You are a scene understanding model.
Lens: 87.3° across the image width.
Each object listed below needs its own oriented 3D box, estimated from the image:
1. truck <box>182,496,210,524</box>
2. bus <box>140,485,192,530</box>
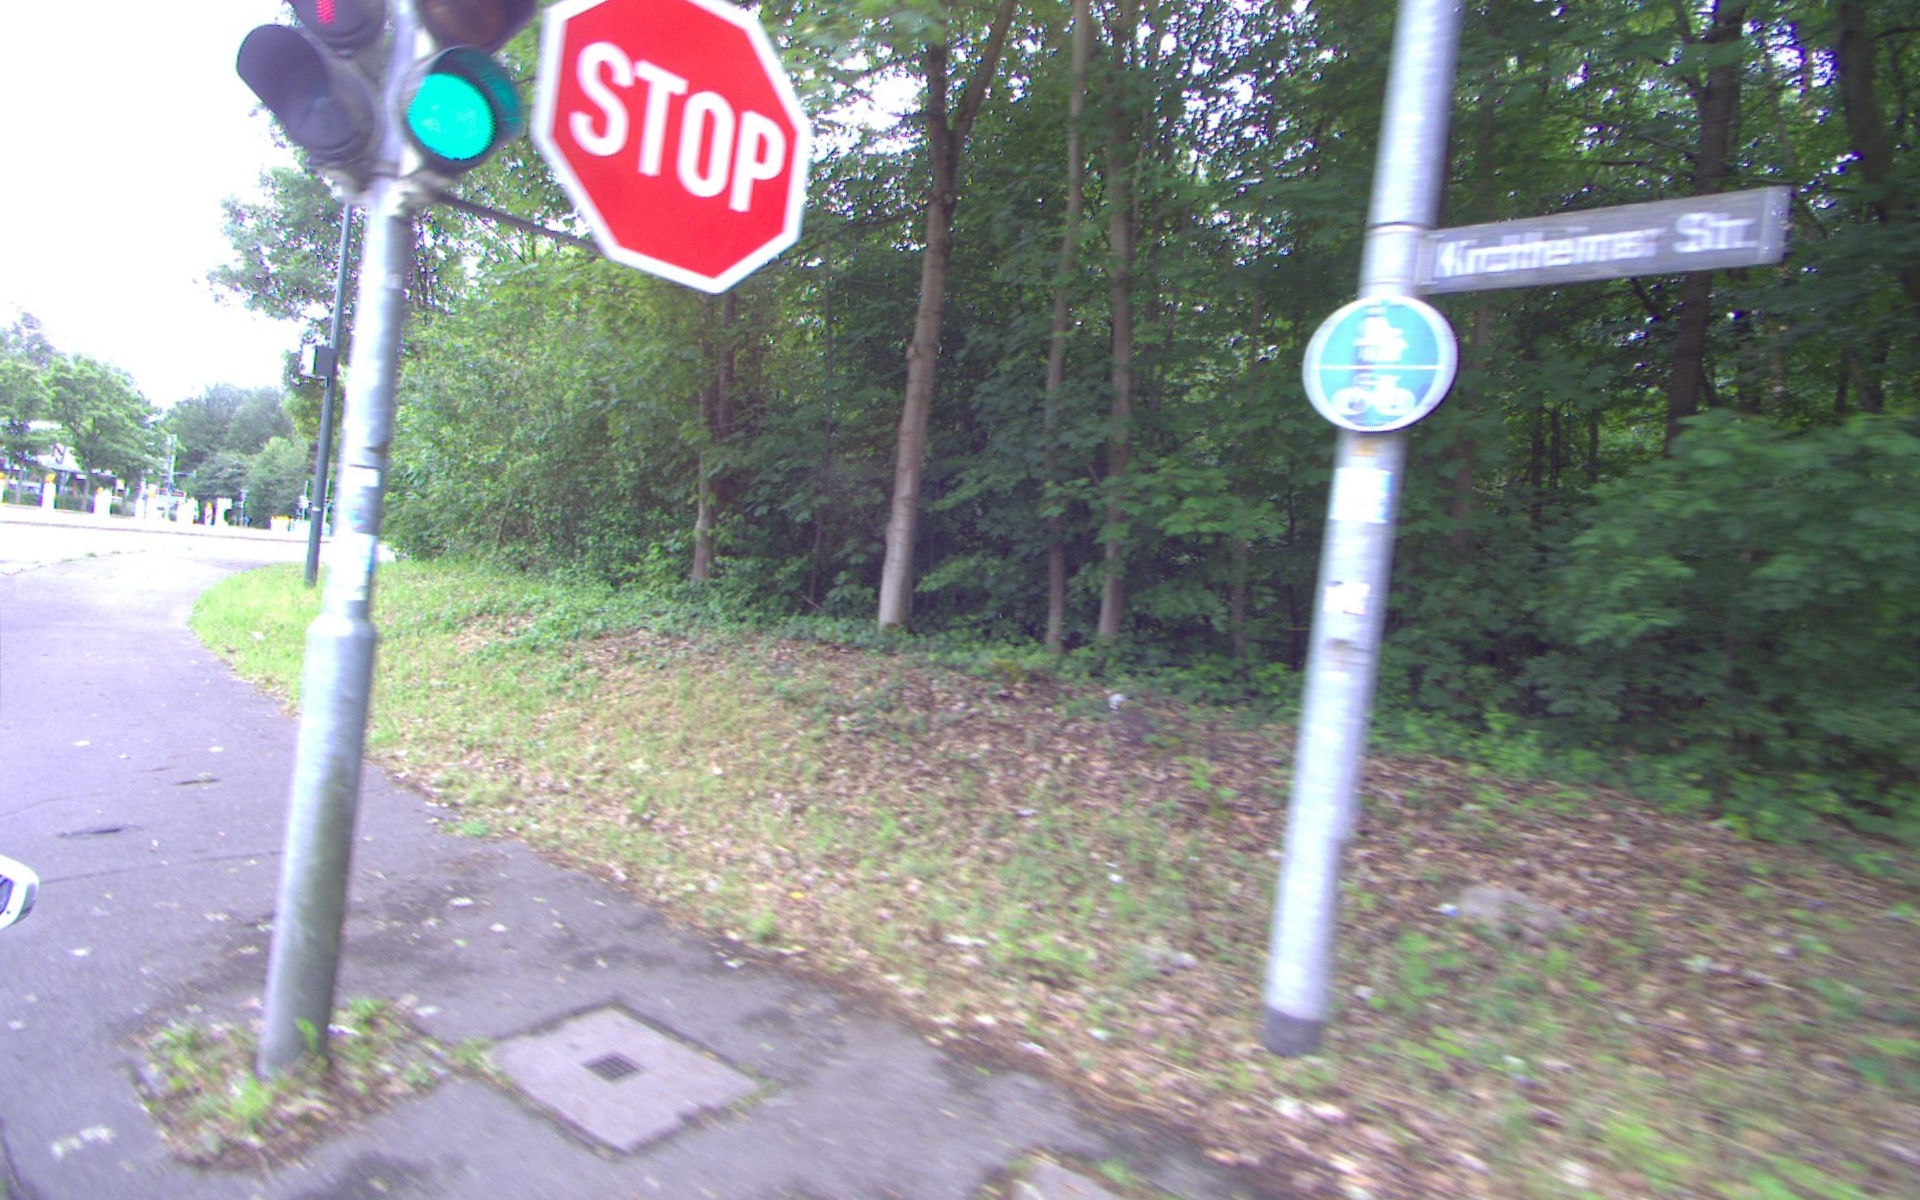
[{"bbox_3d":[-102.530,-12.071,134.939,2.472,3.328,8.425,6,0,-39],"label":"truck"},{"bbox_3d":[-76.161,-8.933,96.370,2.812,3.648,12.649,6,1,-42],"label":"bus"}]
